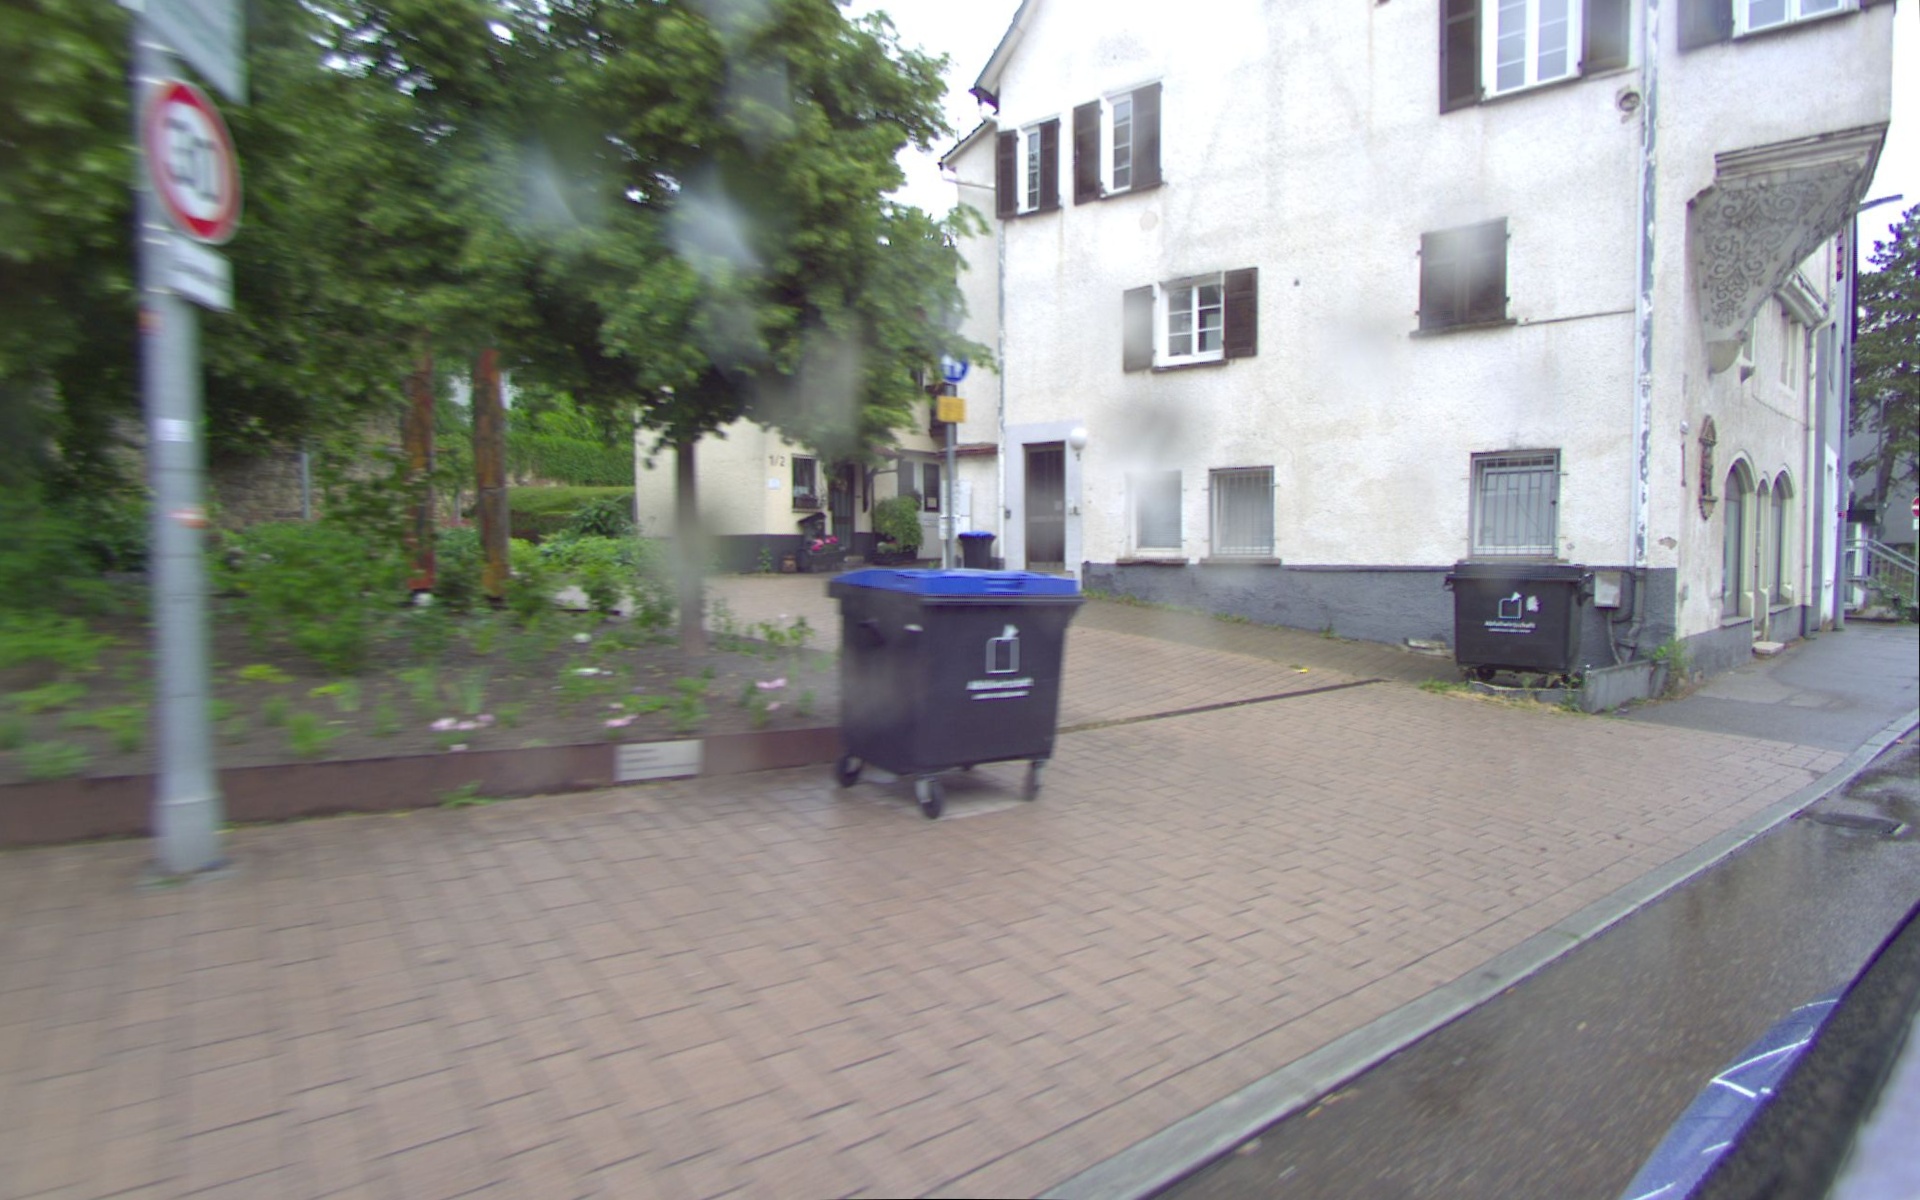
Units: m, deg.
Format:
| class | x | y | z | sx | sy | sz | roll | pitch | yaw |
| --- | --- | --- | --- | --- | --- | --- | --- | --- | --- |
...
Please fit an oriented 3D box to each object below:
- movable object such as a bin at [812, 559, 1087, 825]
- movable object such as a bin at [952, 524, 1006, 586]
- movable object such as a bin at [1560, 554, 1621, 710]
| class | x | y | z | sx | sy | sz | roll | pitch | yaw |
| --- | --- | --- | --- | --- | --- | --- | --- | --- | --- |
| movable object such as a bin | -0.085 | 0.436 | 5.920 | 1.164 | 1.329 | 1.159 | -1 | 3 | -34 |
| movable object such as a bin | 0.311 | -0.745 | 16.565 | 0.656 | 0.932 | 0.585 | 6 | 10 | 41 |
| movable object such as a bin | 6.209 | 0.291 | 9.984 | 0.409 | 1.459 | 0.639 | 1 | 5 | 26 |
